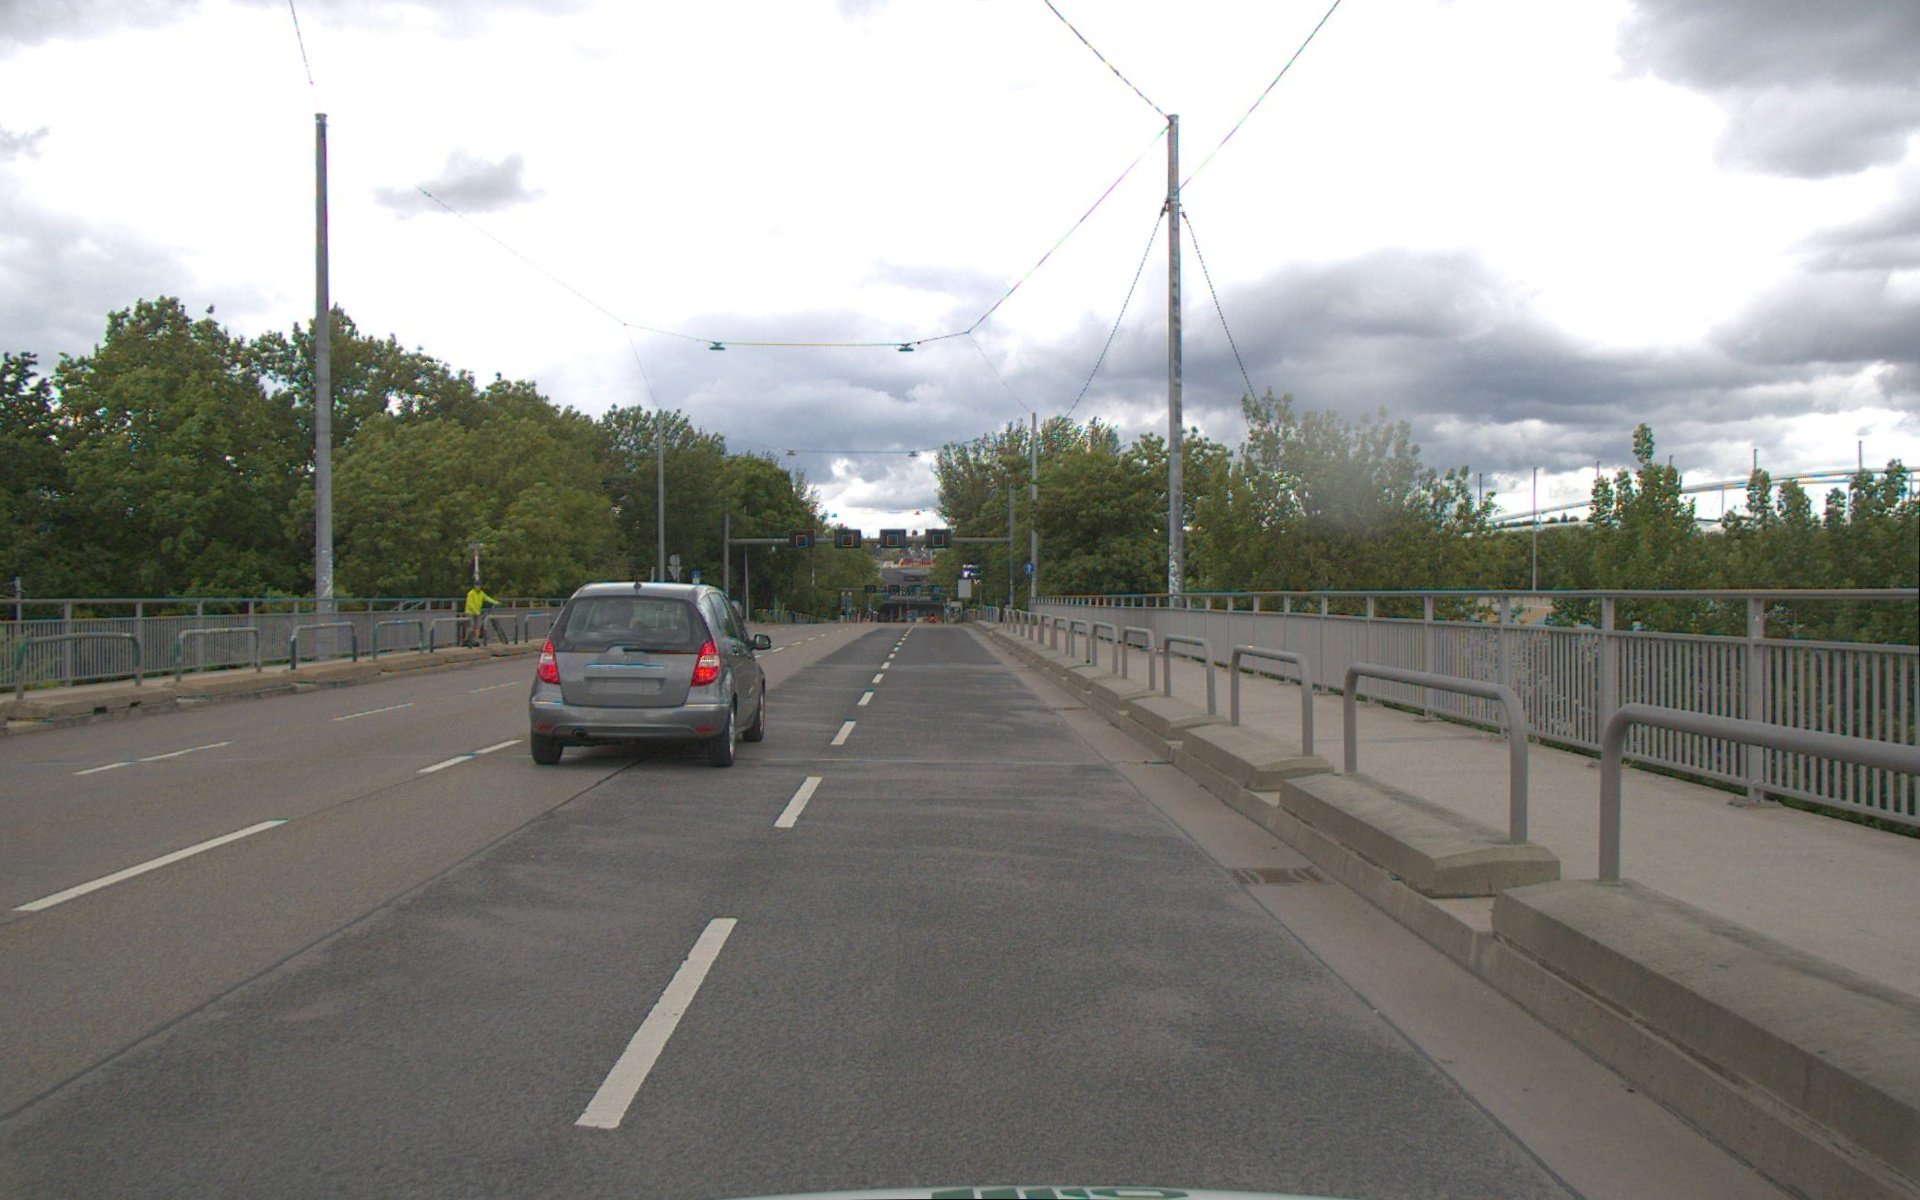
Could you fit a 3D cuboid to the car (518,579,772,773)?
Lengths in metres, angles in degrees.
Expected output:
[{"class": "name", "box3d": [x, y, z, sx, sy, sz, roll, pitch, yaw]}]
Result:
[{"class": "car", "box3d": [-2.803, 0.600, 15.490, 1.710, 1.577, 3.870, 1, 1, -1]}]

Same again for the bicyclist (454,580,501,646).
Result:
[{"class": "bicyclist", "box3d": [-13.446, 0.359, 46.084, 1.110, 1.795, 0.904, 0, 0, -6]}]

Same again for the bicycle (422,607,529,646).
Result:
[{"class": "bicycle", "box3d": [-13.476, 0.733, 46.083, 2.737, 1.069, 0.919, 0, 0, -6]}]
